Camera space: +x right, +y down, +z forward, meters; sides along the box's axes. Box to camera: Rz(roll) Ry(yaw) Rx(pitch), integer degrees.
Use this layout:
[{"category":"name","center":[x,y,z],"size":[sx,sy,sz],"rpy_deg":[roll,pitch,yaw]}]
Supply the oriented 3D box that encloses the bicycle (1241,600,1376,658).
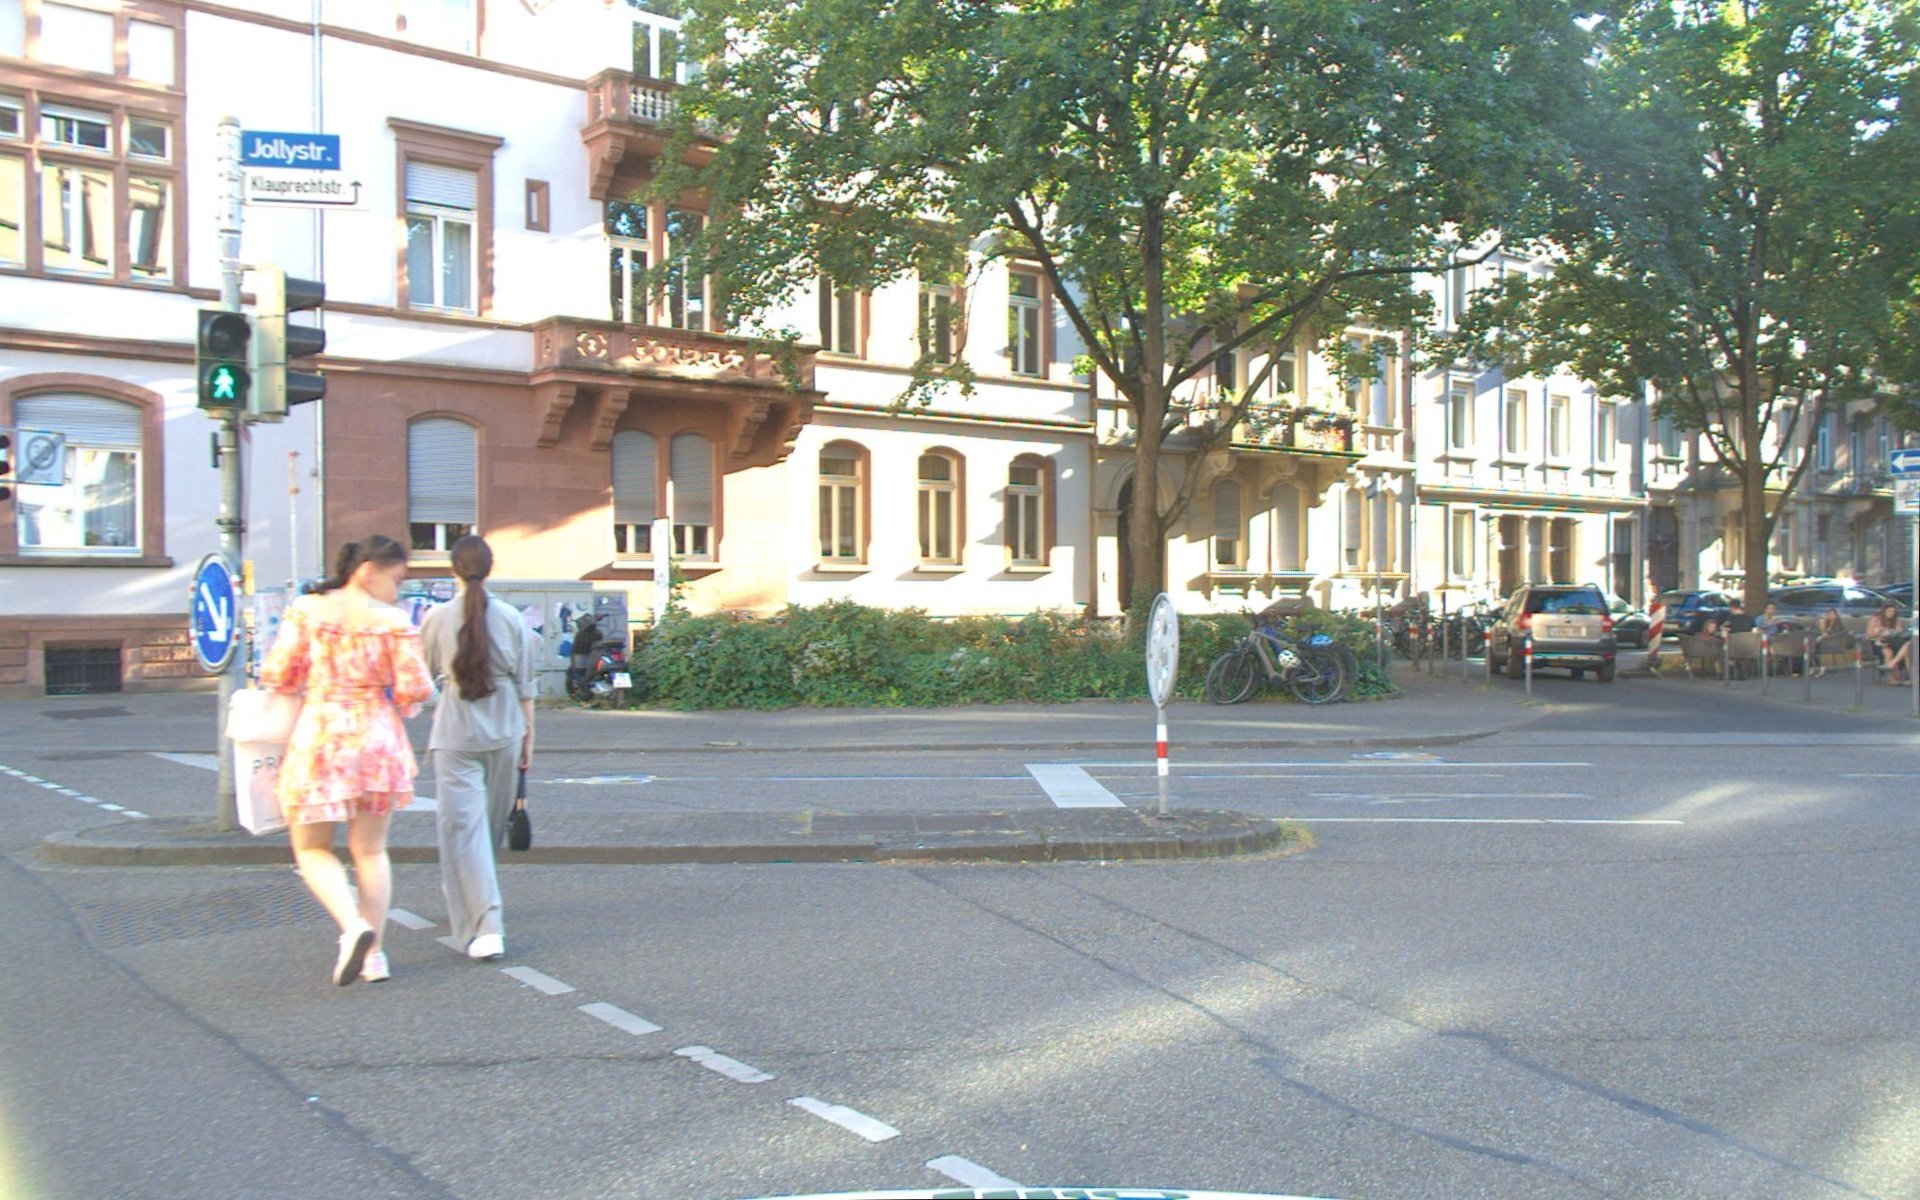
[{"category":"bicycle","center":[7.452,0.601,35.537],"size":[0.744,1.201,3.093],"rpy_deg":[0,0,-38]}]

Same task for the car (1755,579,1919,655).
[{"category":"car","center":[19.422,0.358,35.881],"size":[3.744,1.589,1.803],"rpy_deg":[0,0,21]}]

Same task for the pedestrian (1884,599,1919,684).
[{"category":"pedestrian","center":[14.869,0.627,25.377],"size":[0.732,1.270,1.023],"rpy_deg":[-1,0,-7]}]

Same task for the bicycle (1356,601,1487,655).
[{"category":"bicycle","center":[10.604,0.627,38.142],"size":[0.744,1.201,3.093],"rpy_deg":[0,0,-38]}]

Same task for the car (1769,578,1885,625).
[{"category":"car","center":[27.102,0.030,51.663],"size":[3.714,1.400,1.903],"rpy_deg":[-1,0,-39]}]

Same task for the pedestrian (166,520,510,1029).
[{"category":"pedestrian","center":[-2.352,0.590,6.260],"size":[0.966,1.727,0.865],"rpy_deg":[0,0,41]}]

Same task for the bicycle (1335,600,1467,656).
[{"category":"bicycle","center":[9.991,0.613,37.621],"size":[0.744,1.201,3.093],"rpy_deg":[0,0,-38]}]

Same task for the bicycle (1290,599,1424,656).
[{"category":"bicycle","center":[8.749,0.588,36.603],"size":[0.744,1.201,3.093],"rpy_deg":[0,0,-38]}]

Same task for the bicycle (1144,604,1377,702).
[{"category":"bicycle","center":[3.849,0.671,21.270],"size":[2.888,1.217,0.548],"rpy_deg":[0,0,0]}]

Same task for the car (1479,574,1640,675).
[{"category":"car","center":[10.799,0.405,30.067],"size":[1.951,1.713,4.003],"rpy_deg":[0,0,8]}]

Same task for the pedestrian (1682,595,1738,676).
[{"category":"pedestrian","center":[13.555,0.637,29.911],"size":[0.748,1.437,0.668],"rpy_deg":[-1,-1,10]}]

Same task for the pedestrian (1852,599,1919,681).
[{"category":"pedestrian","center":[14.759,0.631,26.279],"size":[0.732,1.270,0.706],"rpy_deg":[-1,0,-6]}]

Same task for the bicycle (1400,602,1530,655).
[{"category":"bicycle","center":[11.923,0.657,39.171],"size":[0.744,1.201,3.093],"rpy_deg":[0,0,-38]}]

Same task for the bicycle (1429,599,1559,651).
[{"category":"bicycle","center":[12.827,0.589,39.853],"size":[0.744,1.201,3.093],"rpy_deg":[0,0,-38]}]

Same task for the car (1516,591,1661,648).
[{"category":"car","center":[16.183,0.473,42.524],"size":[3.714,1.400,1.903],"rpy_deg":[-1,0,-39]}]

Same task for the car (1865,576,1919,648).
[{"category":"car","center":[24.091,0.264,39.826],"size":[3.908,1.713,1.999],"rpy_deg":[0,0,26]}]

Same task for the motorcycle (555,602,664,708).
[{"category":"motorcycle","center":[-4.568,0.674,21.451],"size":[0.831,1.287,2.090],"rpy_deg":[0,0,-29]}]

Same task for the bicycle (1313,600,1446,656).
[{"category":"bicycle","center":[9.361,0.599,37.090],"size":[0.744,1.201,3.093],"rpy_deg":[0,0,-38]}]

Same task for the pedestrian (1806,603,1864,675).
[{"category":"pedestrian","center":[15.323,0.686,28.974],"size":[0.661,1.237,0.668],"rpy_deg":[-1,-1,6]}]

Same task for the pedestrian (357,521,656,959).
[{"category":"pedestrian","center":[-1.965,0.549,7.169],"size":[0.966,1.727,0.865],"rpy_deg":[0,0,41]}]

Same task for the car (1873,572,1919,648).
[{"category":"car","center":[22.957,0.212,37.361],"size":[3.919,1.713,1.993],"rpy_deg":[0,0,35]}]

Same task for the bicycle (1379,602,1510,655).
[{"category":"bicycle","center":[11.281,0.642,38.633],"size":[0.744,1.201,3.093],"rpy_deg":[0,0,-38]}]

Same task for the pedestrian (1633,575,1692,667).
[{"category":"pedestrian","center":[13.145,0.394,30.958],"size":[0.750,1.699,0.667],"rpy_deg":[-1,-1,-6]}]

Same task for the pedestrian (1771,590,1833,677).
[{"category":"pedestrian","center":[14.542,0.580,28.591],"size":[0.748,1.467,0.668],"rpy_deg":[-1,-1,8]}]

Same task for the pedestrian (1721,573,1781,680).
[{"category":"pedestrian","center":[13.635,0.459,28.523],"size":[0.748,1.801,0.572],"rpy_deg":[-1,-1,8]}]

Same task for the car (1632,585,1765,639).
[{"category":"car","center":[20.372,0.305,45.596],"size":[3.714,1.400,1.903],"rpy_deg":[-1,0,-39]}]

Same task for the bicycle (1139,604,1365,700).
[{"category":"bicycle","center":[3.847,0.679,21.865],"size":[2.888,1.217,0.548],"rpy_deg":[0,0,0]}]

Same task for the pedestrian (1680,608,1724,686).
[{"category":"pedestrian","center":[13.093,0.820,29.190],"size":[0.558,1.343,0.505],"rpy_deg":[-1,0,6]}]

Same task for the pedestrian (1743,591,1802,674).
[{"category":"pedestrian","center":[14.550,0.585,29.625],"size":[0.748,1.467,0.668],"rpy_deg":[-1,-1,8]}]
